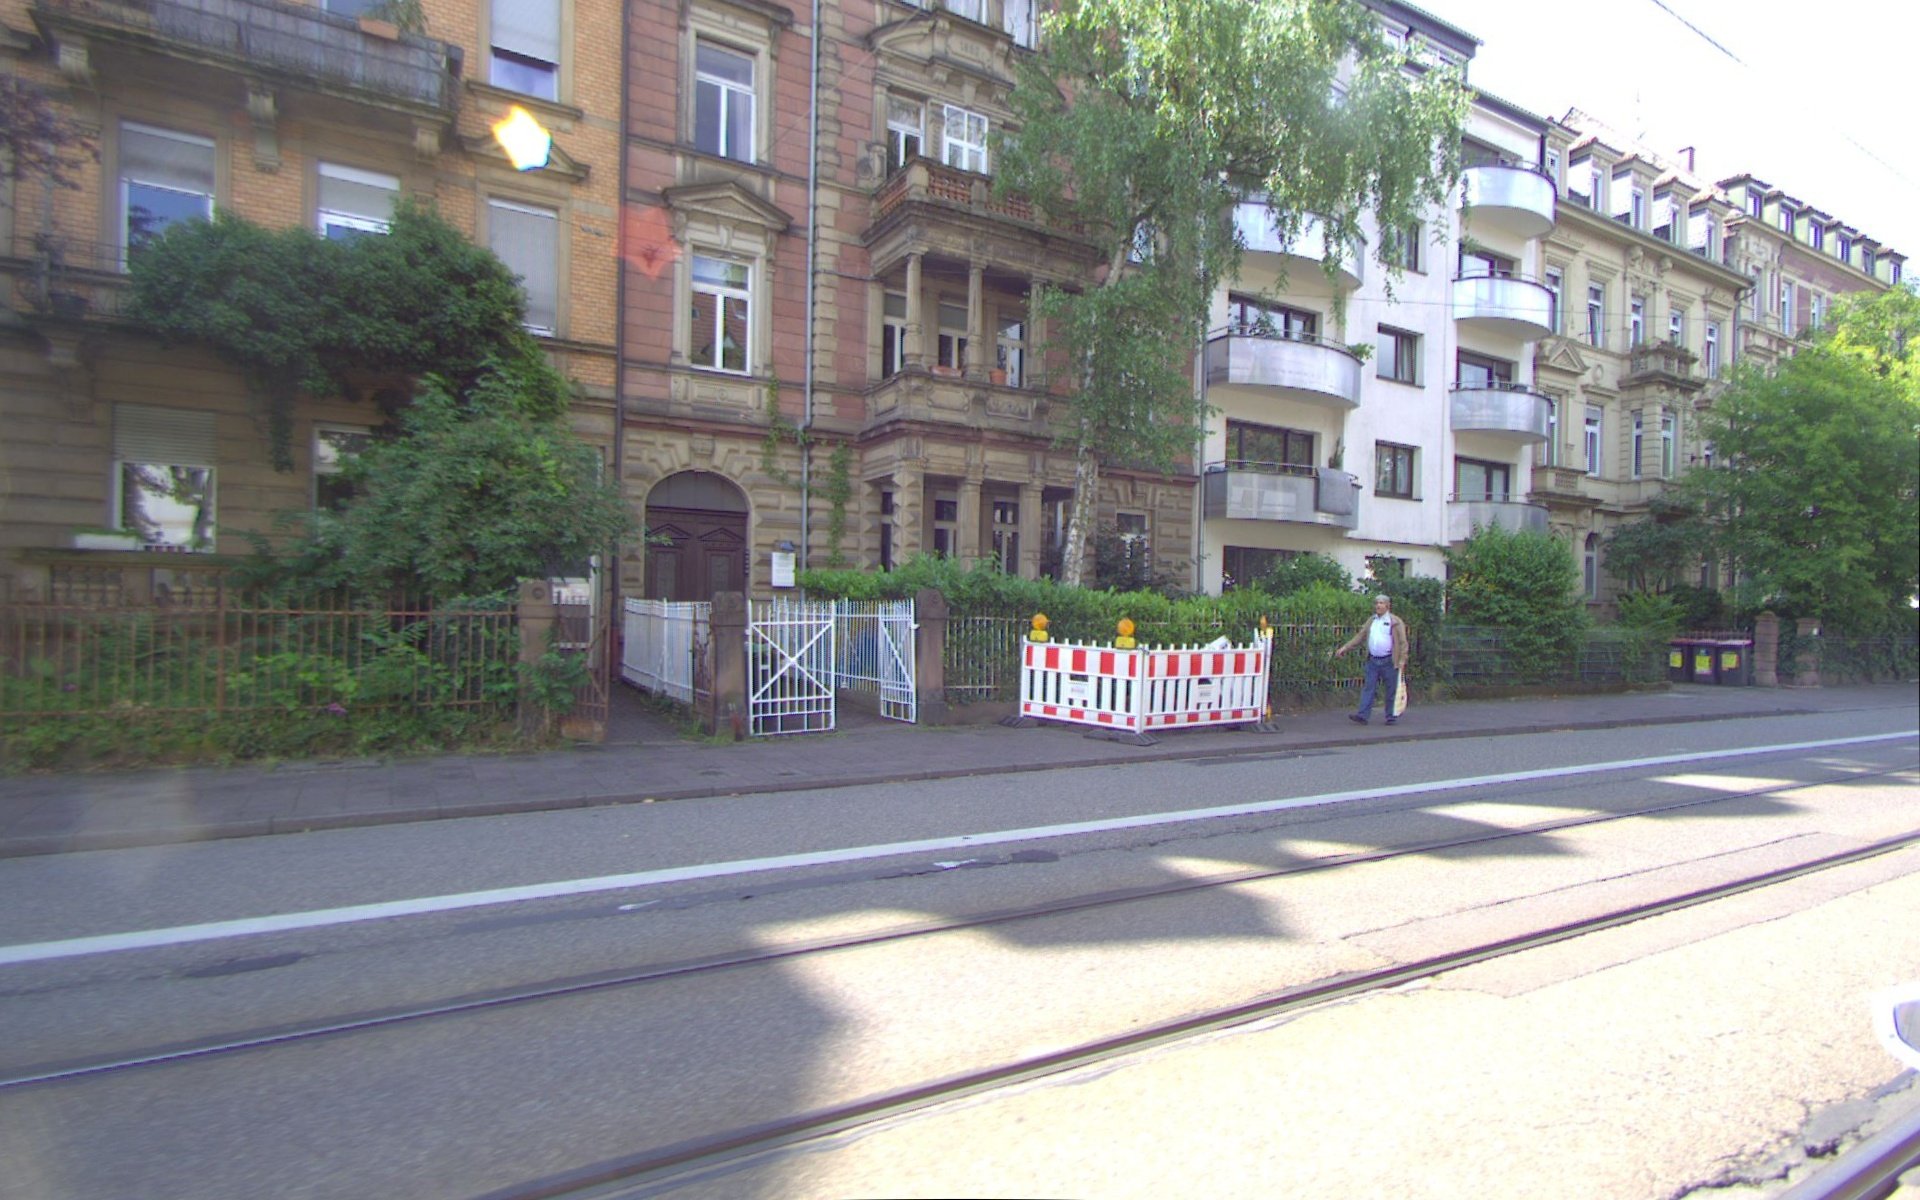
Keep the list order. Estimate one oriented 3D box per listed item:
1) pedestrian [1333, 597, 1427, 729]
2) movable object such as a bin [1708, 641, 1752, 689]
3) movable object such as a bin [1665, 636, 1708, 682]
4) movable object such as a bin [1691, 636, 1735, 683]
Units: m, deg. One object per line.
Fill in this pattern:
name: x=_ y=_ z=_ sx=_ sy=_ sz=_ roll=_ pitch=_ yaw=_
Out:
pedestrian: x=5.785 y=0.842 z=13.833 sx=0.882 sy=1.729 sz=0.817 roll=2 pitch=0 yaw=-33
movable object such as a bin: x=18.408 y=1.542 z=24.006 sx=0.779 sy=1.109 sz=0.536 roll=2 pitch=0 yaw=-26
movable object such as a bin: x=18.081 y=1.461 z=25.012 sx=0.779 sy=1.123 sz=0.547 roll=2 pitch=0 yaw=-26
movable object such as a bin: x=18.397 y=1.452 z=24.534 sx=0.779 sy=1.123 sz=0.547 roll=2 pitch=0 yaw=-26
